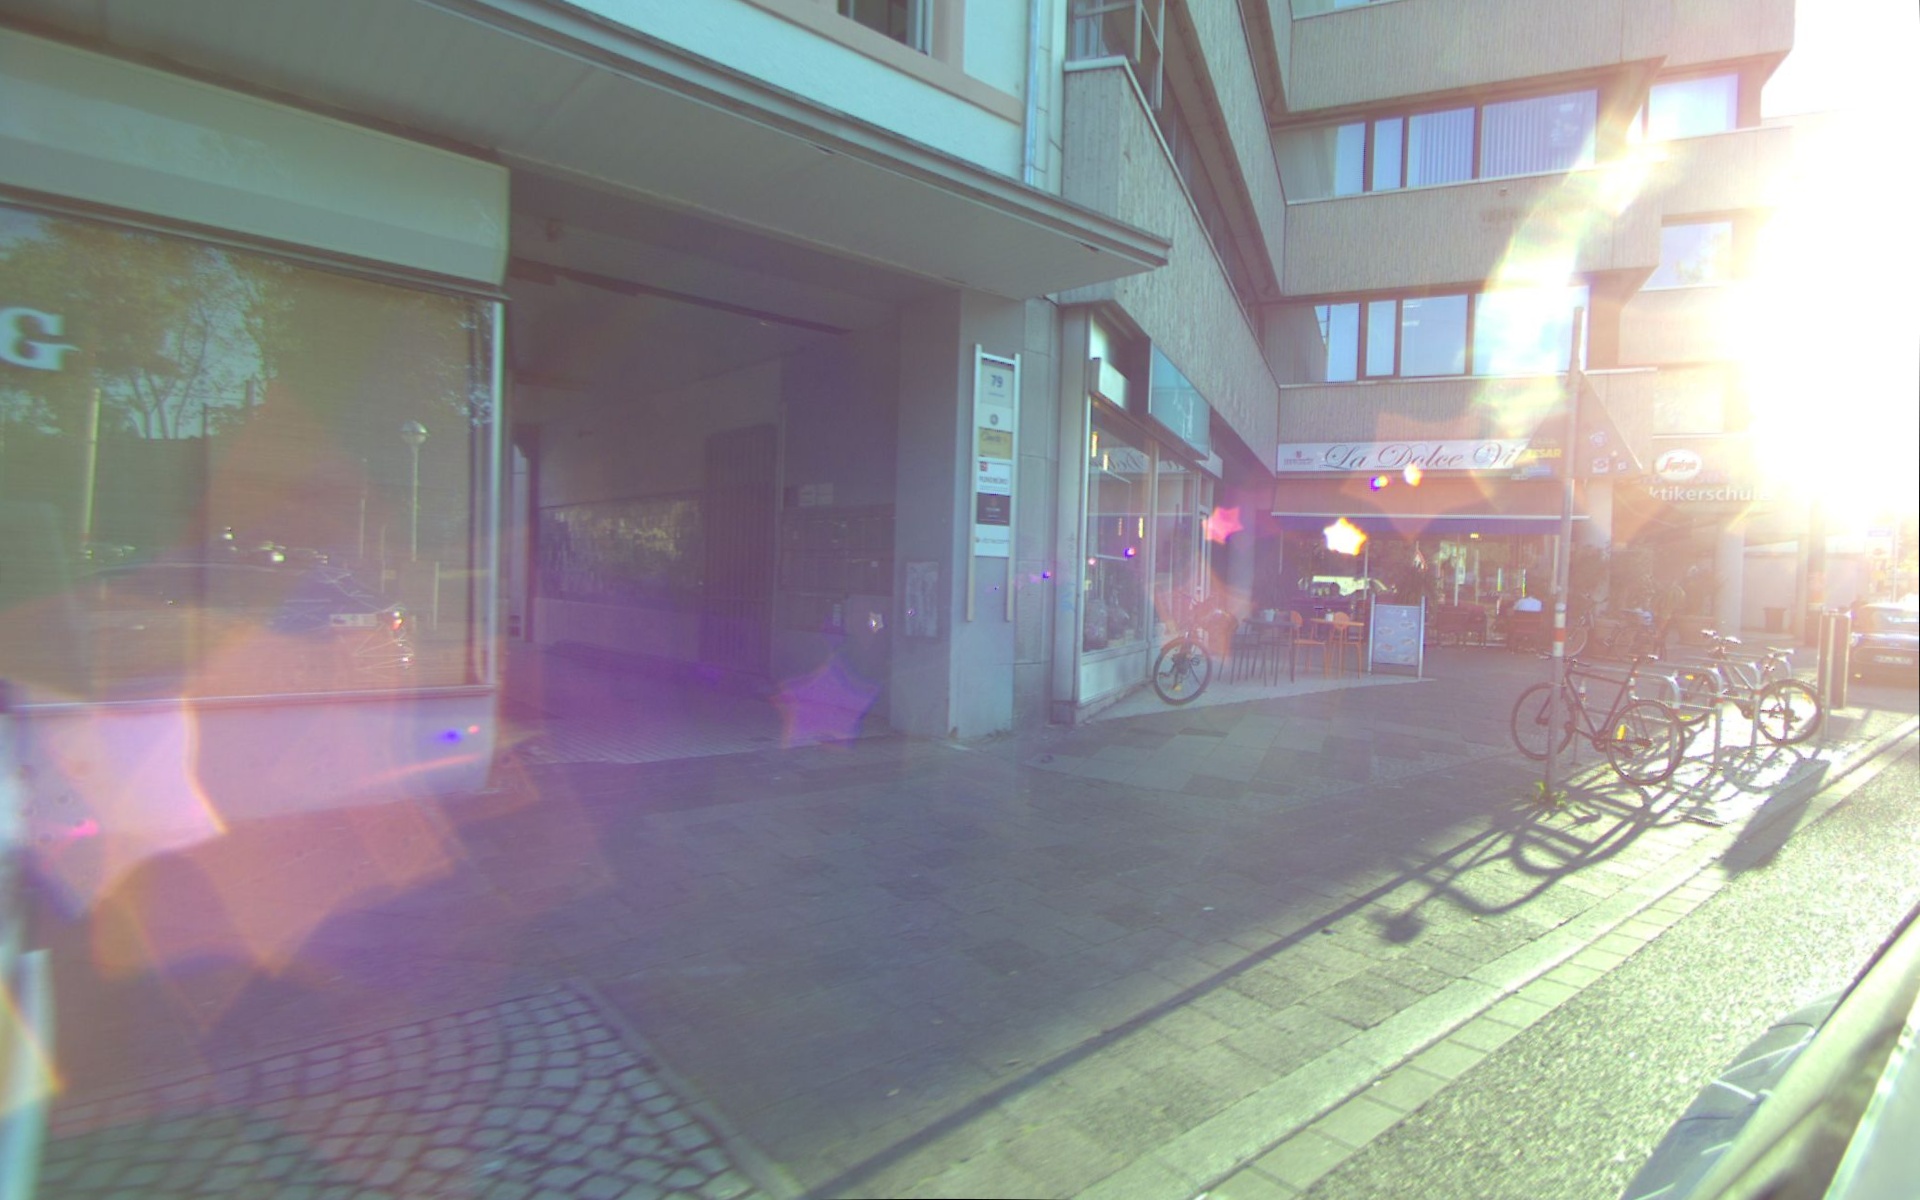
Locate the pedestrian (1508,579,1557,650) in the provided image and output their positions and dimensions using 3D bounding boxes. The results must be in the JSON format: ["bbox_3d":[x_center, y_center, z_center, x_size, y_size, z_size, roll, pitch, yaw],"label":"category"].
[{"bbox_3d":[11.136,0.275,19.688,0.639,1.312,0.696,4,2,40],"label":"pedestrian"}]

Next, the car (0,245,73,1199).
[{"bbox_3d":[-3.228,0.451,0.595,4.020,1.814,1.796,0,1,-41],"label":"car"}]

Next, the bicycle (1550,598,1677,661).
[{"bbox_3d":[12.055,0.534,18.705,1.862,1.017,0.457,4,2,11],"label":"bicycle"}]

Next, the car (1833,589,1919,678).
[{"bbox_3d":[17.864,0.599,18.894,3.850,1.527,1.794,1,0,-40],"label":"car"}]

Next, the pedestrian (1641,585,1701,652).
[{"bbox_3d":[14.646,0.373,20.868,0.752,1.314,0.707,2,1,15],"label":"pedestrian"}]

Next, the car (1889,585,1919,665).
[{"bbox_3d":[23.782,0.611,24.310,4.326,1.827,1.786,1,0,-43],"label":"car"}]

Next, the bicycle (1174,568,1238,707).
[{"bbox_3d":[2.598,0.343,10.785,0.408,1.291,1.663,2,4,6],"label":"bicycle"}]

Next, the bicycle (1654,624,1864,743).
[{"bbox_3d":[8.438,0.844,10.805,0.531,1.002,1.797,4,2,-9],"label":"bicycle"}]

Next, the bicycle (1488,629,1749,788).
[{"bbox_3d":[5.337,0.836,8.357,0.530,1.002,1.799,4,3,-18],"label":"bicycle"}]

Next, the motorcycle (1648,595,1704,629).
[{"bbox_3d":[30.550,0.499,43.195,0.655,1.309,1.801,2,1,-25],"label":"motorcycle"}]

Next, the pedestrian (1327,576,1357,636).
[{"bbox_3d":[8.329,0.129,22.063,0.552,1.255,0.609,2,0,24],"label":"pedestrian"}]

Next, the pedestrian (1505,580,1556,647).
[{"bbox_3d":[11.474,0.268,20.363,0.528,1.294,0.706,1,2,-41],"label":"pedestrian"}]
